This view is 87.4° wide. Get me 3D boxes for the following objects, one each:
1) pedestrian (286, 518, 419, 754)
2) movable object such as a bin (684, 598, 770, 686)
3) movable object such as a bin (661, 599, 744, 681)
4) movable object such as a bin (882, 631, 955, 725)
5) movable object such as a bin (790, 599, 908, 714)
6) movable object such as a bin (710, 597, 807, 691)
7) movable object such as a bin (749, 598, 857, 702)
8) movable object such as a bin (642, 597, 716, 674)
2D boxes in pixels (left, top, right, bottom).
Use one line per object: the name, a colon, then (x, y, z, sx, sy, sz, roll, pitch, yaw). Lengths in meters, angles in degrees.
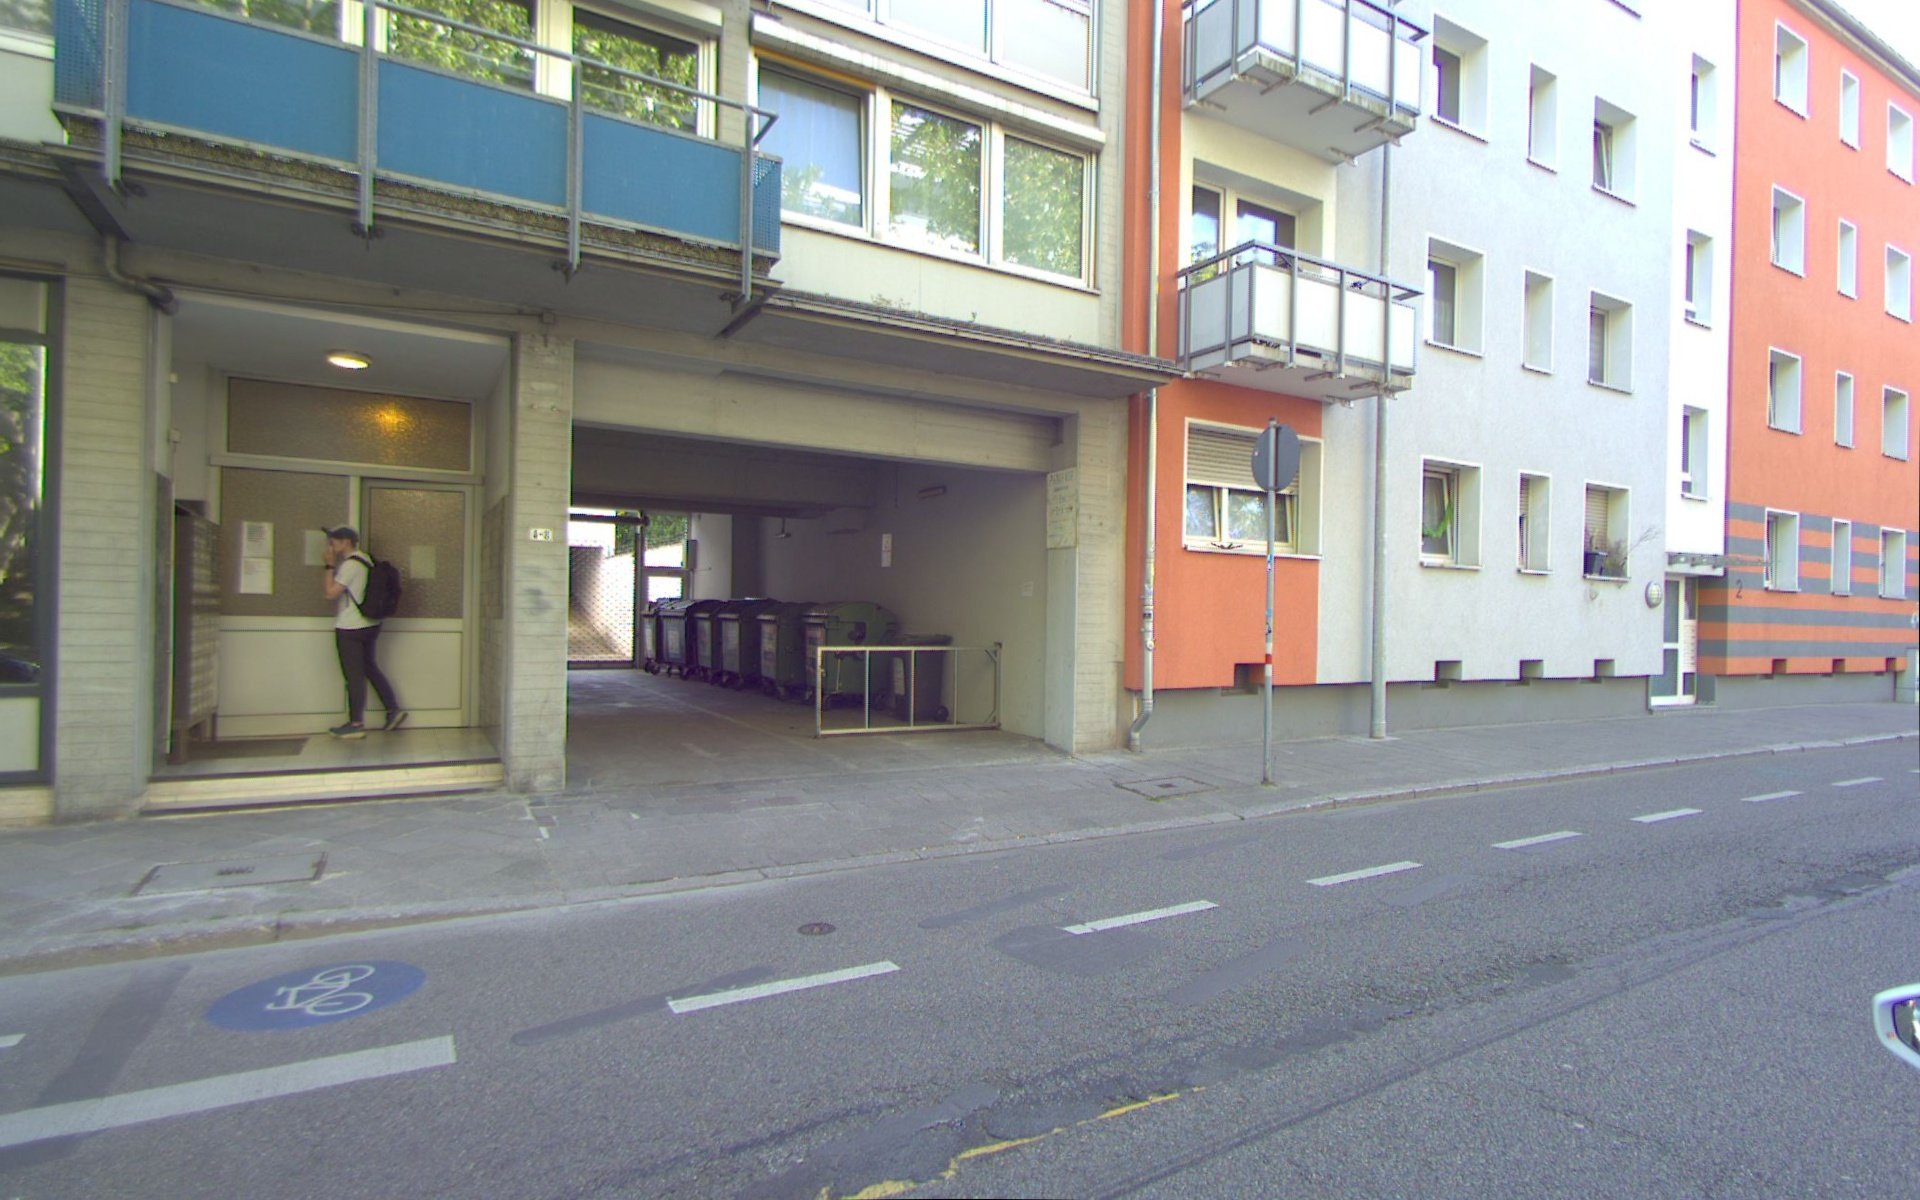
pedestrian: (-5.179, 0.293, 8.583, 0.572, 1.904, 0.783, 2, 0, 38)
movable object such as a bin: (-4.122, 0.728, 17.719, 1.186, 1.467, 1.114, 2, 0, -30)
movable object such as a bin: (-4.821, 0.730, 18.762, 1.186, 1.467, 1.222, 2, 0, -30)
movable object such as a bin: (-0.516, 0.948, 12.419, 0.745, 1.116, 0.463, 2, 0, -30)
movable object such as a bin: (-1.544, 0.748, 13.810, 1.159, 1.467, 1.319, 2, 0, -30)
movable object such as a bin: (-3.351, 0.708, 16.628, 1.186, 1.467, 1.319, 2, 0, -30)
movable object such as a bin: (-2.384, 0.730, 15.144, 1.186, 1.467, 1.319, 2, 0, -30)
movable object such as a bin: (-5.597, 0.695, 19.991, 1.186, 1.467, 1.027, 2, 0, -30)
